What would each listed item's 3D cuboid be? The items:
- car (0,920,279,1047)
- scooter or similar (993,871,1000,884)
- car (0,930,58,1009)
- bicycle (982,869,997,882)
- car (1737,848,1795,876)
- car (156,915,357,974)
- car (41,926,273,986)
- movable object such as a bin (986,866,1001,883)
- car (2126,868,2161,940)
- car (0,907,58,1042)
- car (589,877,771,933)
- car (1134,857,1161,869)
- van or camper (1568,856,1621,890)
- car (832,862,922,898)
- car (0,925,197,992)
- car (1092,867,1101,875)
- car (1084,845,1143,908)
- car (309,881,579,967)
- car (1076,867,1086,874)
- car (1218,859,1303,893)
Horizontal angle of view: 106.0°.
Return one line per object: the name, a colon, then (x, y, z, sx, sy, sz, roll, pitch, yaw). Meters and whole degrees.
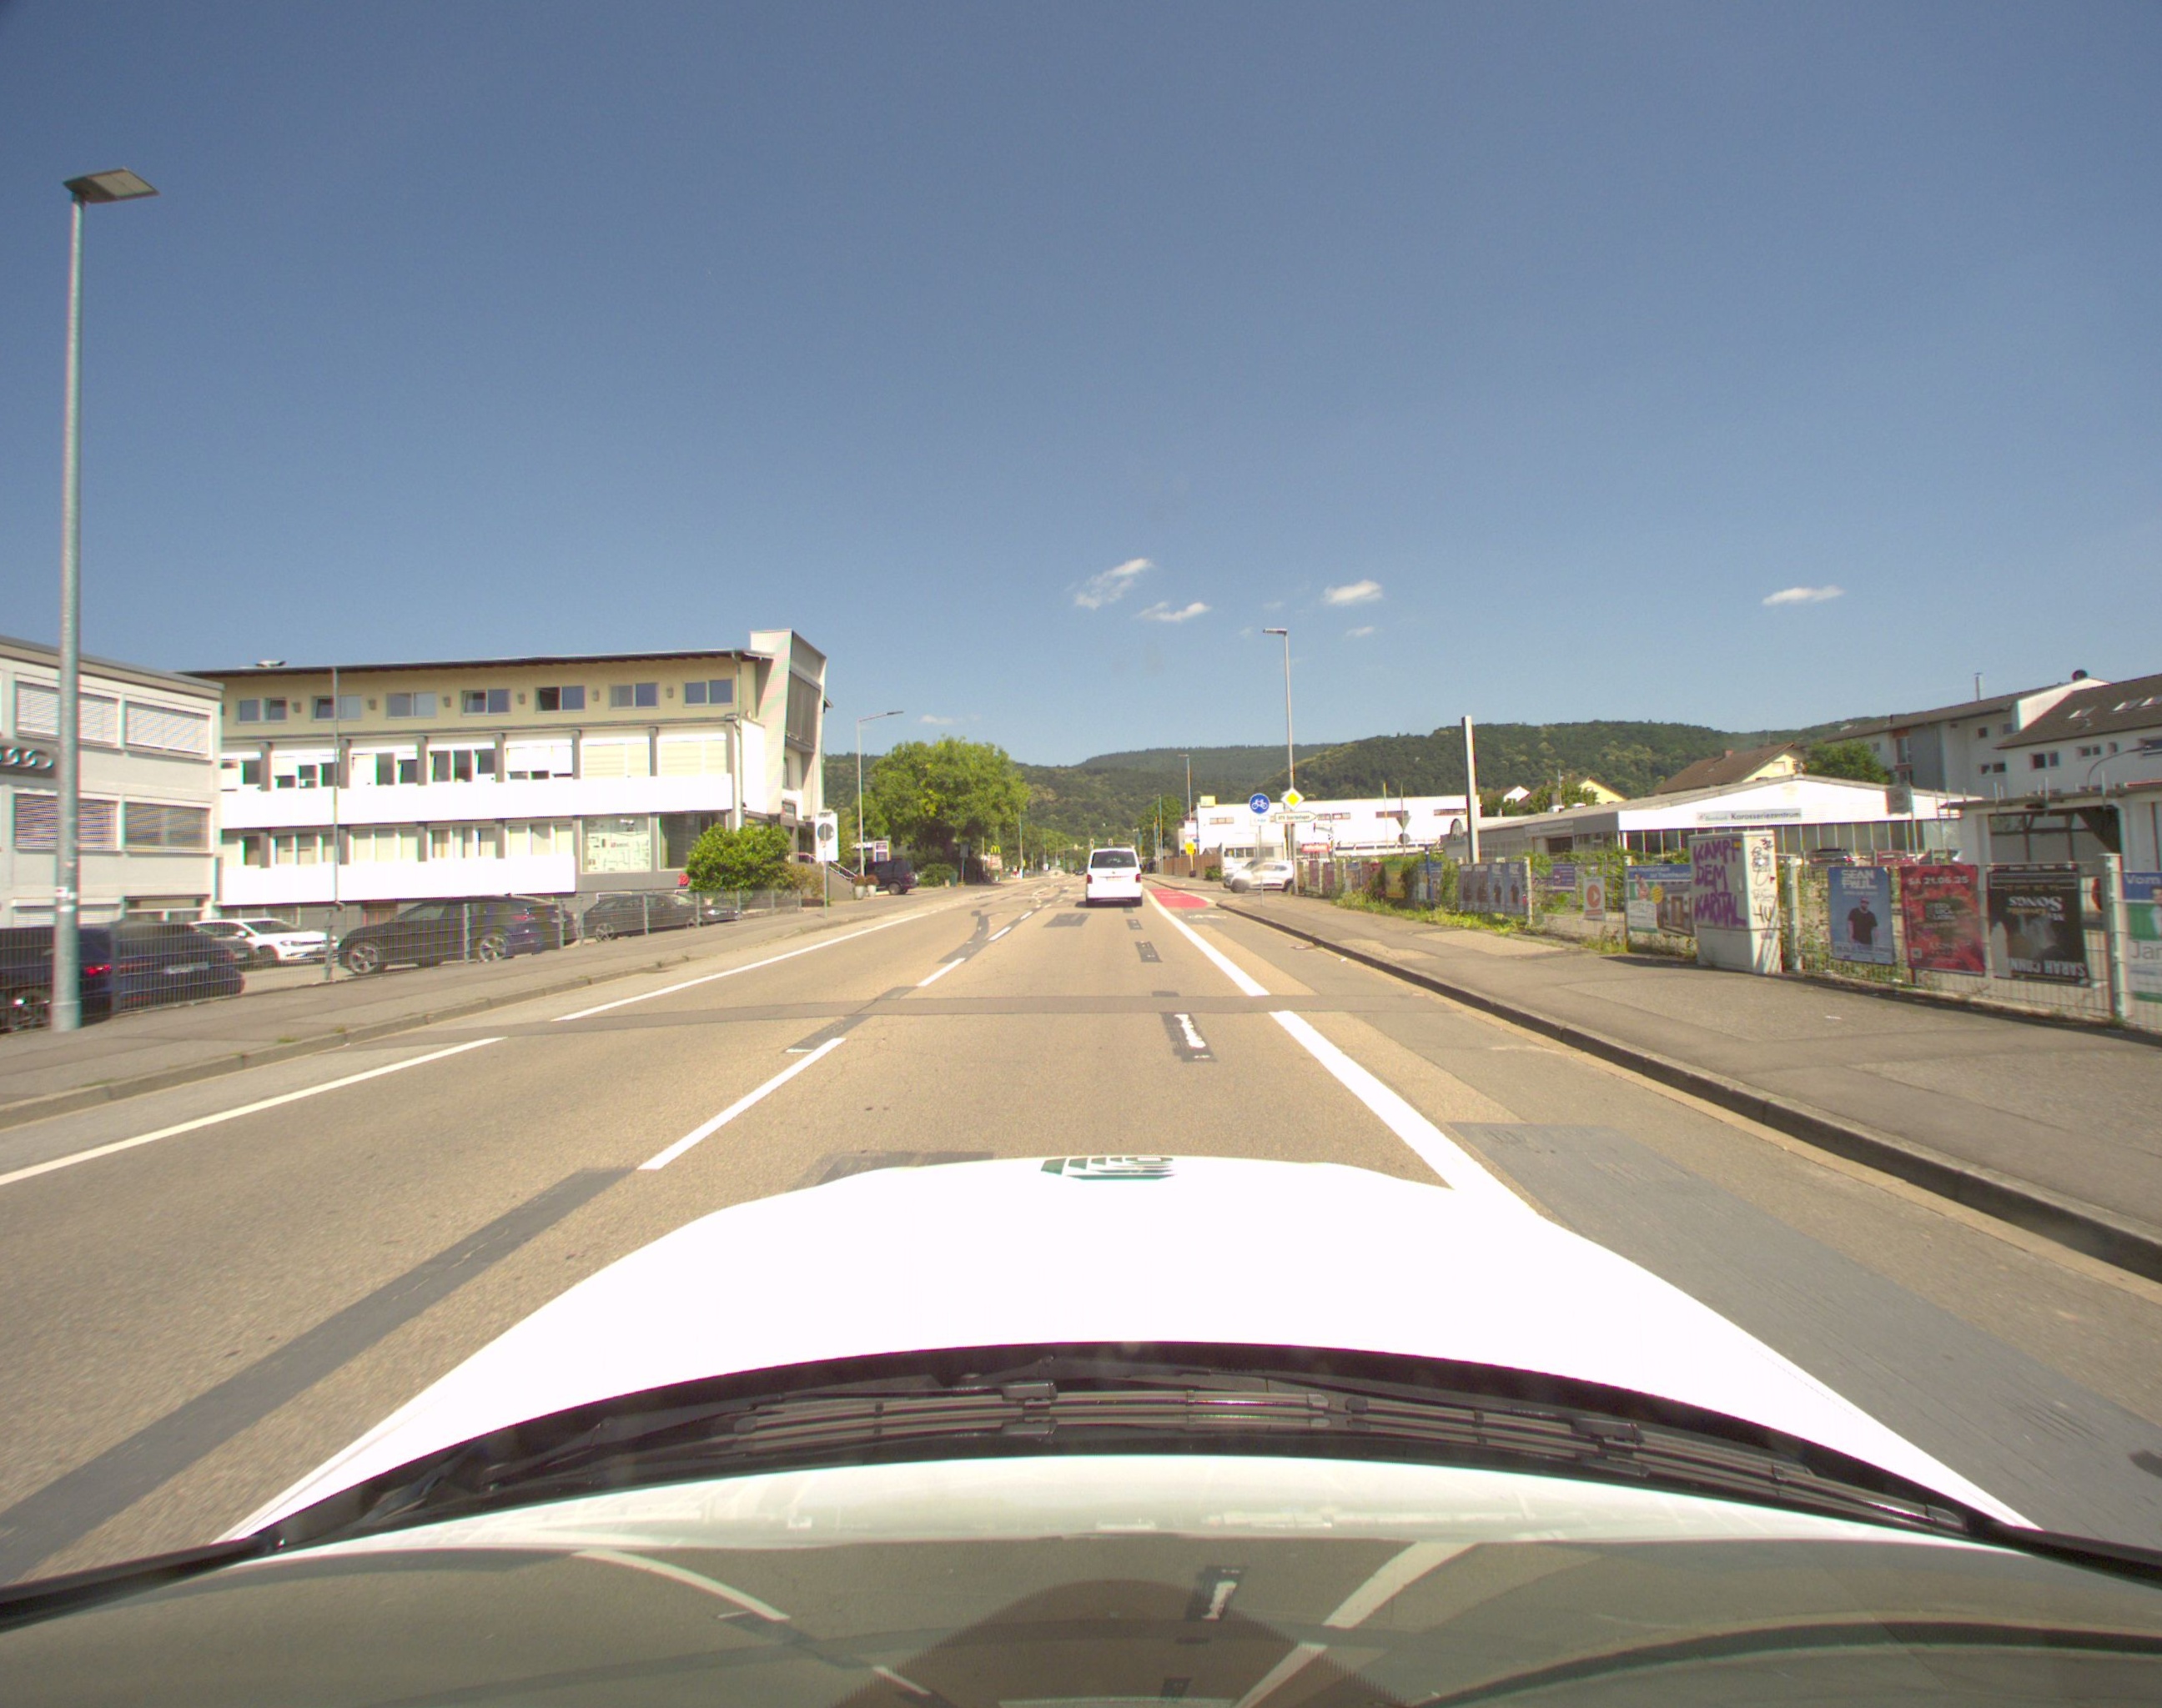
car: (-13.649, 1.647, 10.803, 3.977, 1.491, 1.857, 0, -3, -3)
scooter or similar: (-8.035, 2.226, 77.508, 0.646, 1.128, 1.620, 1, -1, -5)
car: (-24.265, 2.469, 16.786, 3.974, 1.546, 1.859, -2, -1, 0)
bicycle: (-8.290, 1.953, 73.814, 1.024, 1.118, 2.764, 1, -1, -1)
car: (37.142, 0.476, 44.251, 1.771, 1.464, 3.848, -1, -2, 30)
car: (-24.191, 2.641, 24.012, 3.974, 1.461, 1.859, -2, -1, 0)
car: (-24.363, 2.665, 21.592, 3.974, 1.265, 1.859, -2, -1, 0)
movable object such as a bin: (-8.972, 2.107, 83.297, 1.447, 1.590, 1.304, -3, -1, -7)
car: (23.319, 0.935, 15.364, 4.311, 1.398, 2.121, -1, -1, 3)
car: (-13.554, 1.533, 8.203, 3.977, 1.443, 1.858, -8, -3, -2)
car: (-12.702, 1.593, 26.036, 4.724, 1.481, 2.047, -2, -1, 0)
car: (10.141, 1.369, 123.714, 3.965, 1.775, 2.004, -3, -1, 7)
van or camper: (27.616, 1.014, 43.945, 1.975, 1.543, 4.254, -8, -5, 28)
car: (-11.383, 1.421, 45.712, 4.557, 1.865, 2.090, -1, -1, -4)
car: (-23.909, 2.458, 19.349, 3.968, 1.403, 1.818, -2, -3, 5)
car: (3.355, 3.730, 174.875, 1.842, 1.588, 4.001, -3, -1, 2)
car: (1.068, 0.759, 28.751, 1.928, 2.060, 4.543, 0, -1, 0)
car: (-13.902, 1.490, 18.013, 4.286, 1.558, 1.993, -2, -1, -3)
car: (-0.061, 3.521, 170.004, 1.987, 1.370, 4.325, -3, -1, -1)
car: (8.322, 1.029, 37.990, 3.649, 1.484, 1.729, -1, -1, 4)
